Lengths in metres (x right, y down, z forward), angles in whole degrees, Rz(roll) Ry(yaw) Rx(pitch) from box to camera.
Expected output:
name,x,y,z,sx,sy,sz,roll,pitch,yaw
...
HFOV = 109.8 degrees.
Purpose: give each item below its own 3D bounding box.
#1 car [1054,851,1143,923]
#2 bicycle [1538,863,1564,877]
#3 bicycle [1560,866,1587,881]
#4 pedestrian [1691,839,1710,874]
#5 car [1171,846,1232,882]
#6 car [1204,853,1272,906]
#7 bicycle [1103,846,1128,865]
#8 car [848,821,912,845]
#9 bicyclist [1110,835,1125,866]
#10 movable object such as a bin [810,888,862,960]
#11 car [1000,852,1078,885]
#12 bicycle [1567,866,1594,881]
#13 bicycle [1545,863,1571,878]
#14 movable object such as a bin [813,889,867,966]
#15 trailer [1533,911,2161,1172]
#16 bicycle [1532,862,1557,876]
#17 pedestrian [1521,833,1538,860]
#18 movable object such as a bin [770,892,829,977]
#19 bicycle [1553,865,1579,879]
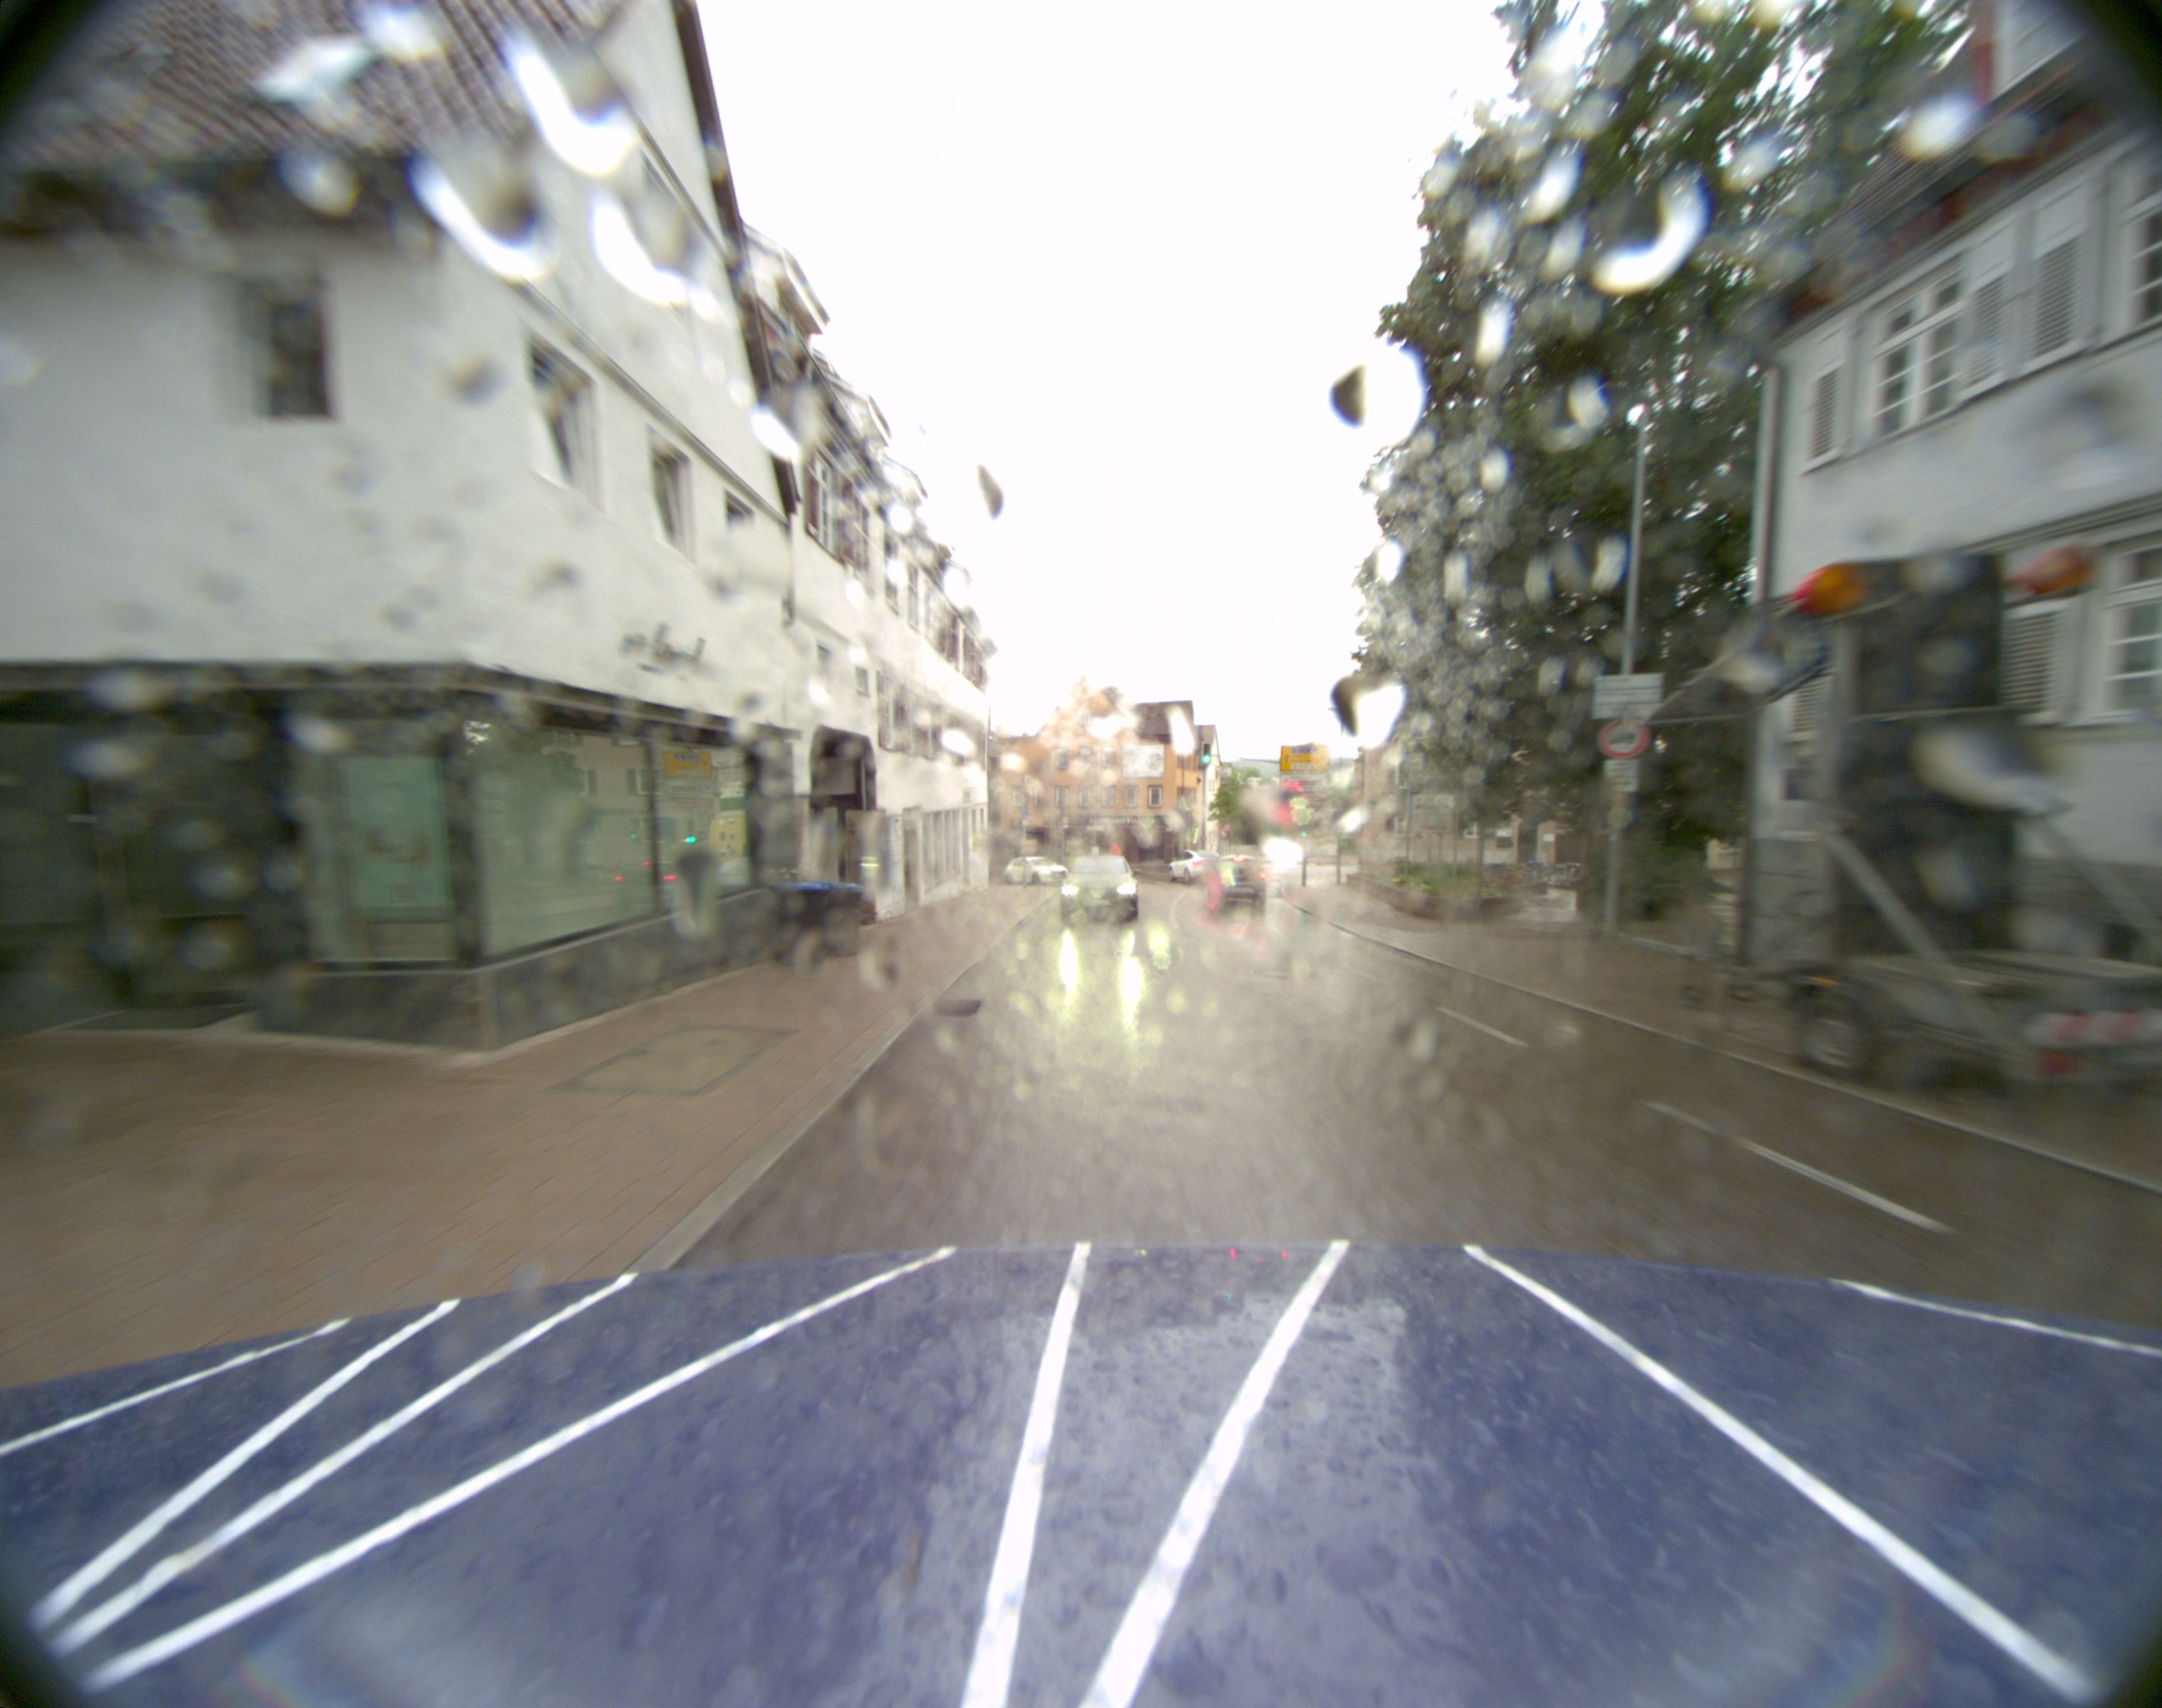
name,x,y,z,sx,sy,sz,roll,pitch,yaw
car,0.407,0.726,19.282,1.967,1.549,4.622,0,1,0
bicycle,20.646,0.691,33.384,0.853,0.602,0.407,0,1,2
bicycle,20.647,0.815,31.877,0.853,0.602,0.407,0,1,2
pedestrian,35.256,0.150,43.234,0.675,2.002,0.500,0,1,13
car,5.899,0.454,37.705,1.968,1.598,4.380,1,1,-5
car,4.723,0.711,23.252,1.612,1.463,3.587,1,0,5
bicycle,2.207,0.086,48.723,0.666,1.174,2.132,-2,1,-24
car,-14.395,-1.497,54.336,4.370,1.598,1.973,1,1,33
bicyclist,2.340,-0.228,48.326,0.692,1.923,0.568,-2,1,-27
movable object such as a bin,-3.678,1.041,11.447,0.596,1.022,0.476,2,1,1
car,-2.267,0.698,39.848,1.972,1.598,4.371,-1,1,-38
bicycle,20.627,0.821,31.394,0.853,0.602,0.407,0,1,2
bicycle,20.644,0.710,32.872,0.853,0.602,0.407,0,1,2
movable object such as a bin,-3.425,1.036,10.818,0.596,1.022,0.476,2,1,1
trailer,5.922,1.132,6.127,1.998,0.900,4.477,-2,1,2
bicycle,20.657,0.677,33.850,0.853,0.602,0.407,0,1,2
pedestrian,28.138,-0.464,47.682,0.705,1.701,0.677,1,1,17
movable object such as a bin,-3.622,1.018,9.785,0.571,1.022,0.467,1,2,-41
bicycle,20.663,0.768,32.372,0.853,0.602,0.407,0,1,2
